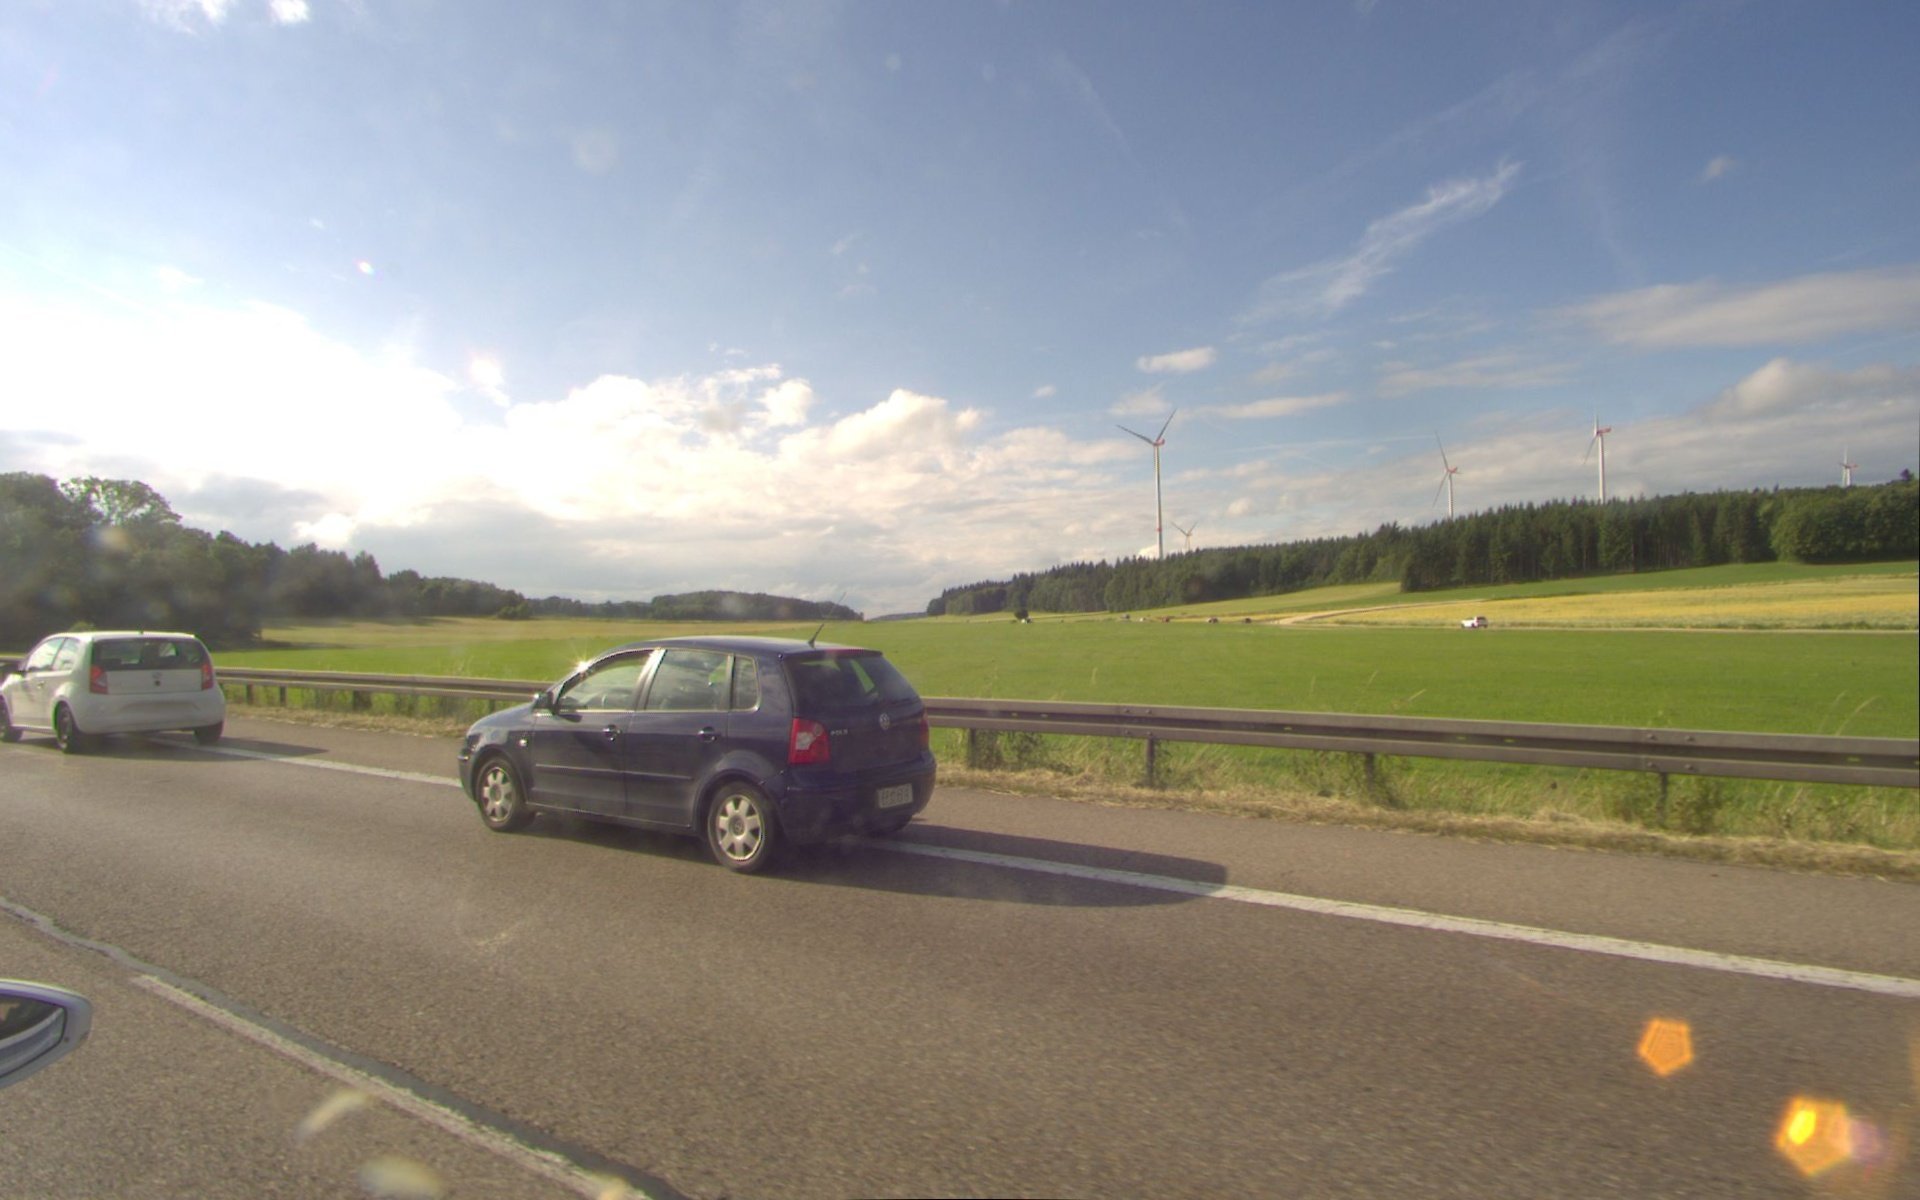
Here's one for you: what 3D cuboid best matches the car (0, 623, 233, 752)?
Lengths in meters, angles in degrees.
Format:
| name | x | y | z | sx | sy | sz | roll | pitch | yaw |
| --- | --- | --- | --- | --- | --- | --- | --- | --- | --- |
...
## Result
| name | x | y | z | sx | sy | sz | roll | pitch | yaw |
| --- | --- | --- | --- | --- | --- | --- | --- | --- | --- |
| car | -11.394 | 1.080 | 13.400 | 3.328 | 1.514 | 1.546 | 0 | -1 | 31 |

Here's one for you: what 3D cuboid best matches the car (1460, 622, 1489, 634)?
| name | x | y | z | sx | sy | sz | roll | pitch | yaw |
| --- | --- | --- | --- | --- | --- | --- | --- | --- | --- |
| car | 71.219 | 3.856 | 138.638 | 1.961 | 1.638 | 4.002 | 0 | -2 | -1 |

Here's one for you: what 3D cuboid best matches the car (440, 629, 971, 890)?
| name | x | y | z | sx | sy | sz | roll | pitch | yaw |
| --- | --- | --- | --- | --- | --- | --- | --- | --- | --- |
| car | -1.941 | 0.964 | 7.354 | 3.721 | 1.464 | 1.707 | -2 | -2 | 32 |
